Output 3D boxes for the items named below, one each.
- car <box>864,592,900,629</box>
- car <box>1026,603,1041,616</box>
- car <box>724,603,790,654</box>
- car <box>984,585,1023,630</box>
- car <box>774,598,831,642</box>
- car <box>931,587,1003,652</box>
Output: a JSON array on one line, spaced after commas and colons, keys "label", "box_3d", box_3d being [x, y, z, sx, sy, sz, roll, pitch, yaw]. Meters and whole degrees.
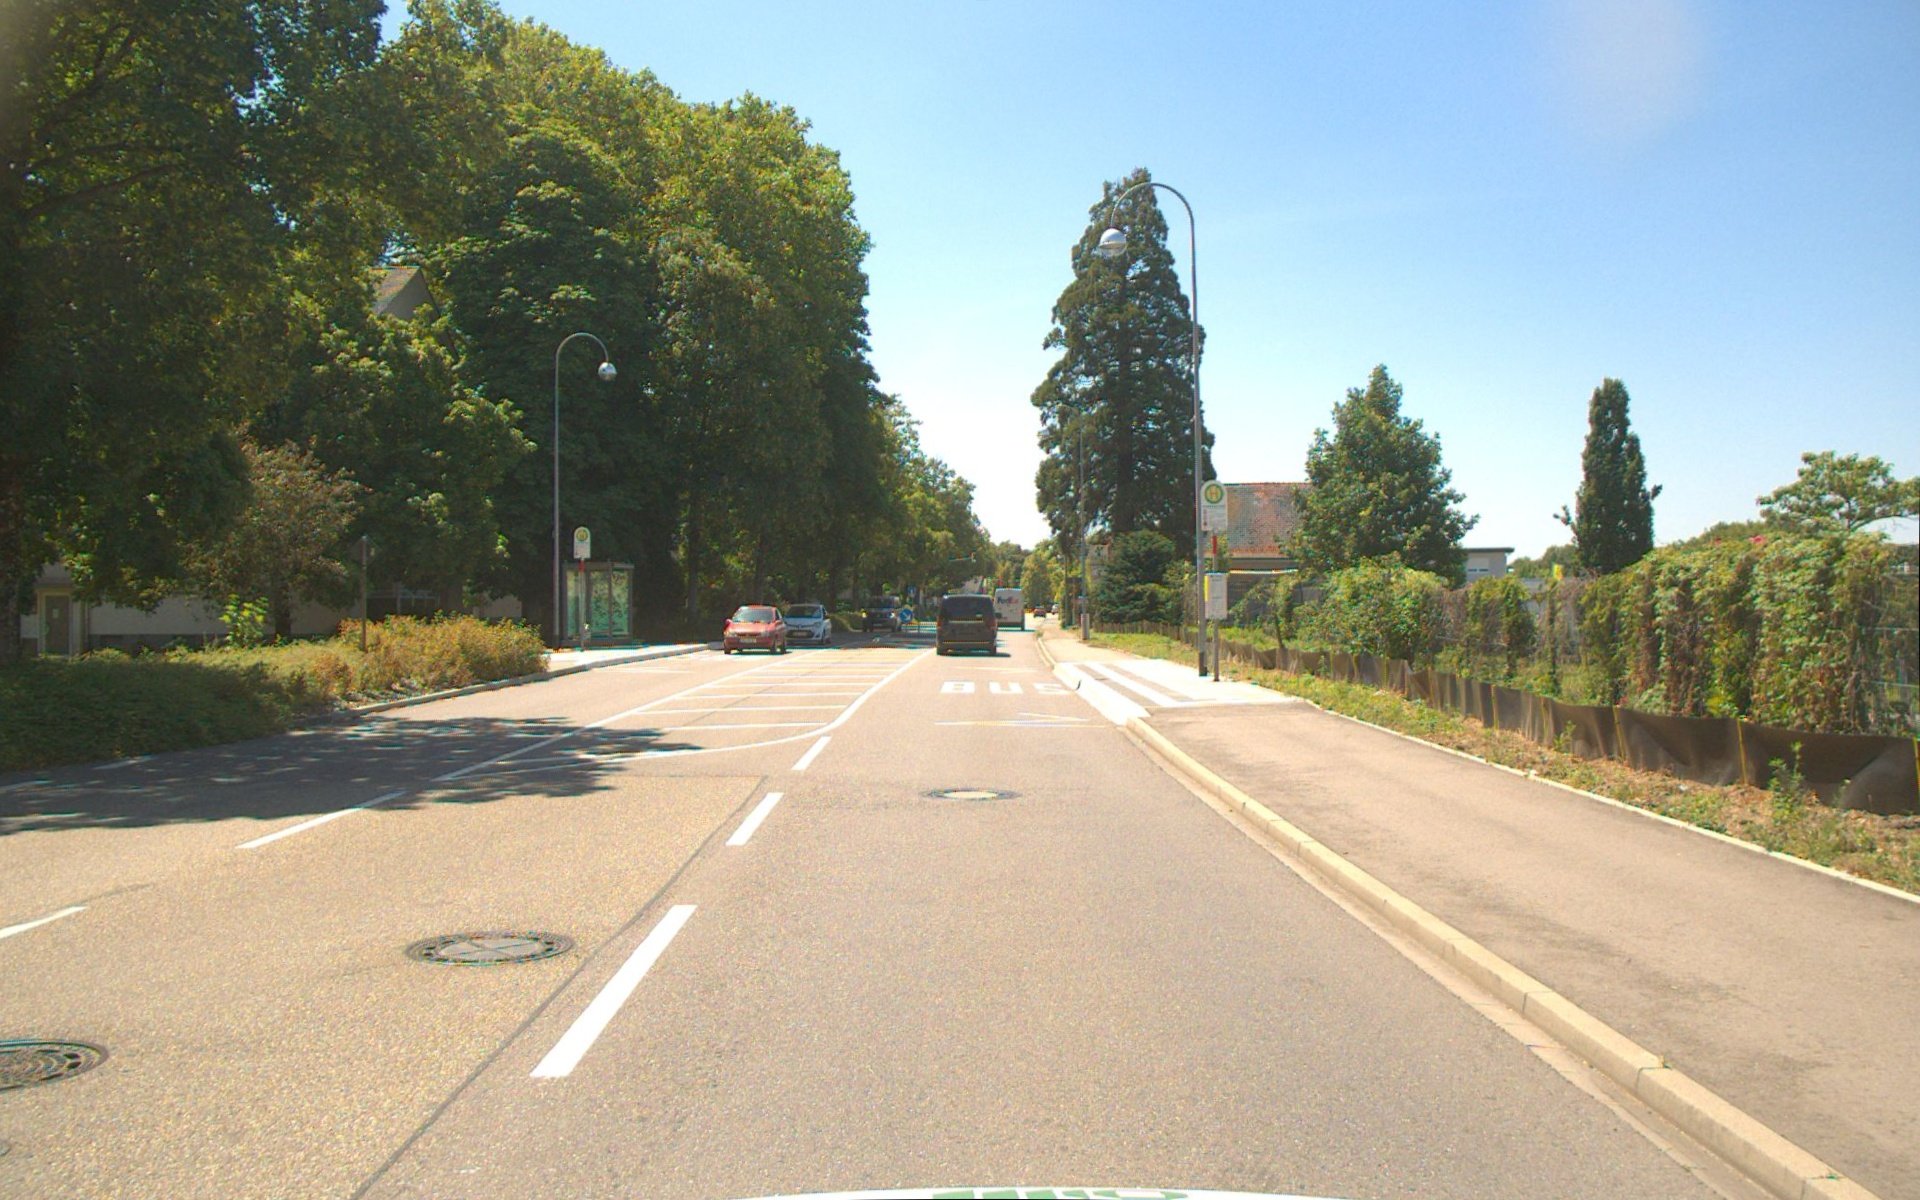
[{"label": "car", "box_3d": [-4.370, 0.573, 92.197, 1.954, 1.943, 4.988, 1, 0, -3]}, {"label": "car", "box_3d": [10.036, 1.334, 226.539, 1.820, 1.671, 3.999, 1, 1, -1]}, {"label": "car", "box_3d": [-6.149, 0.843, 50.501, 1.518, 1.476, 3.690, 1, 0, 0]}, {"label": "car", "box_3d": [2.696, 0.438, 104.656, 2.077, 2.724, 5.660, 1, 1, -2]}, {"label": "car", "box_3d": [-5.727, 0.703, 60.491, 1.656, 1.485, 3.640, 1, 1, 1]}, {"label": "car", "box_3d": [0.190, 0.570, 51.615, 1.954, 1.926, 3.997, 1, 1, -4]}]
